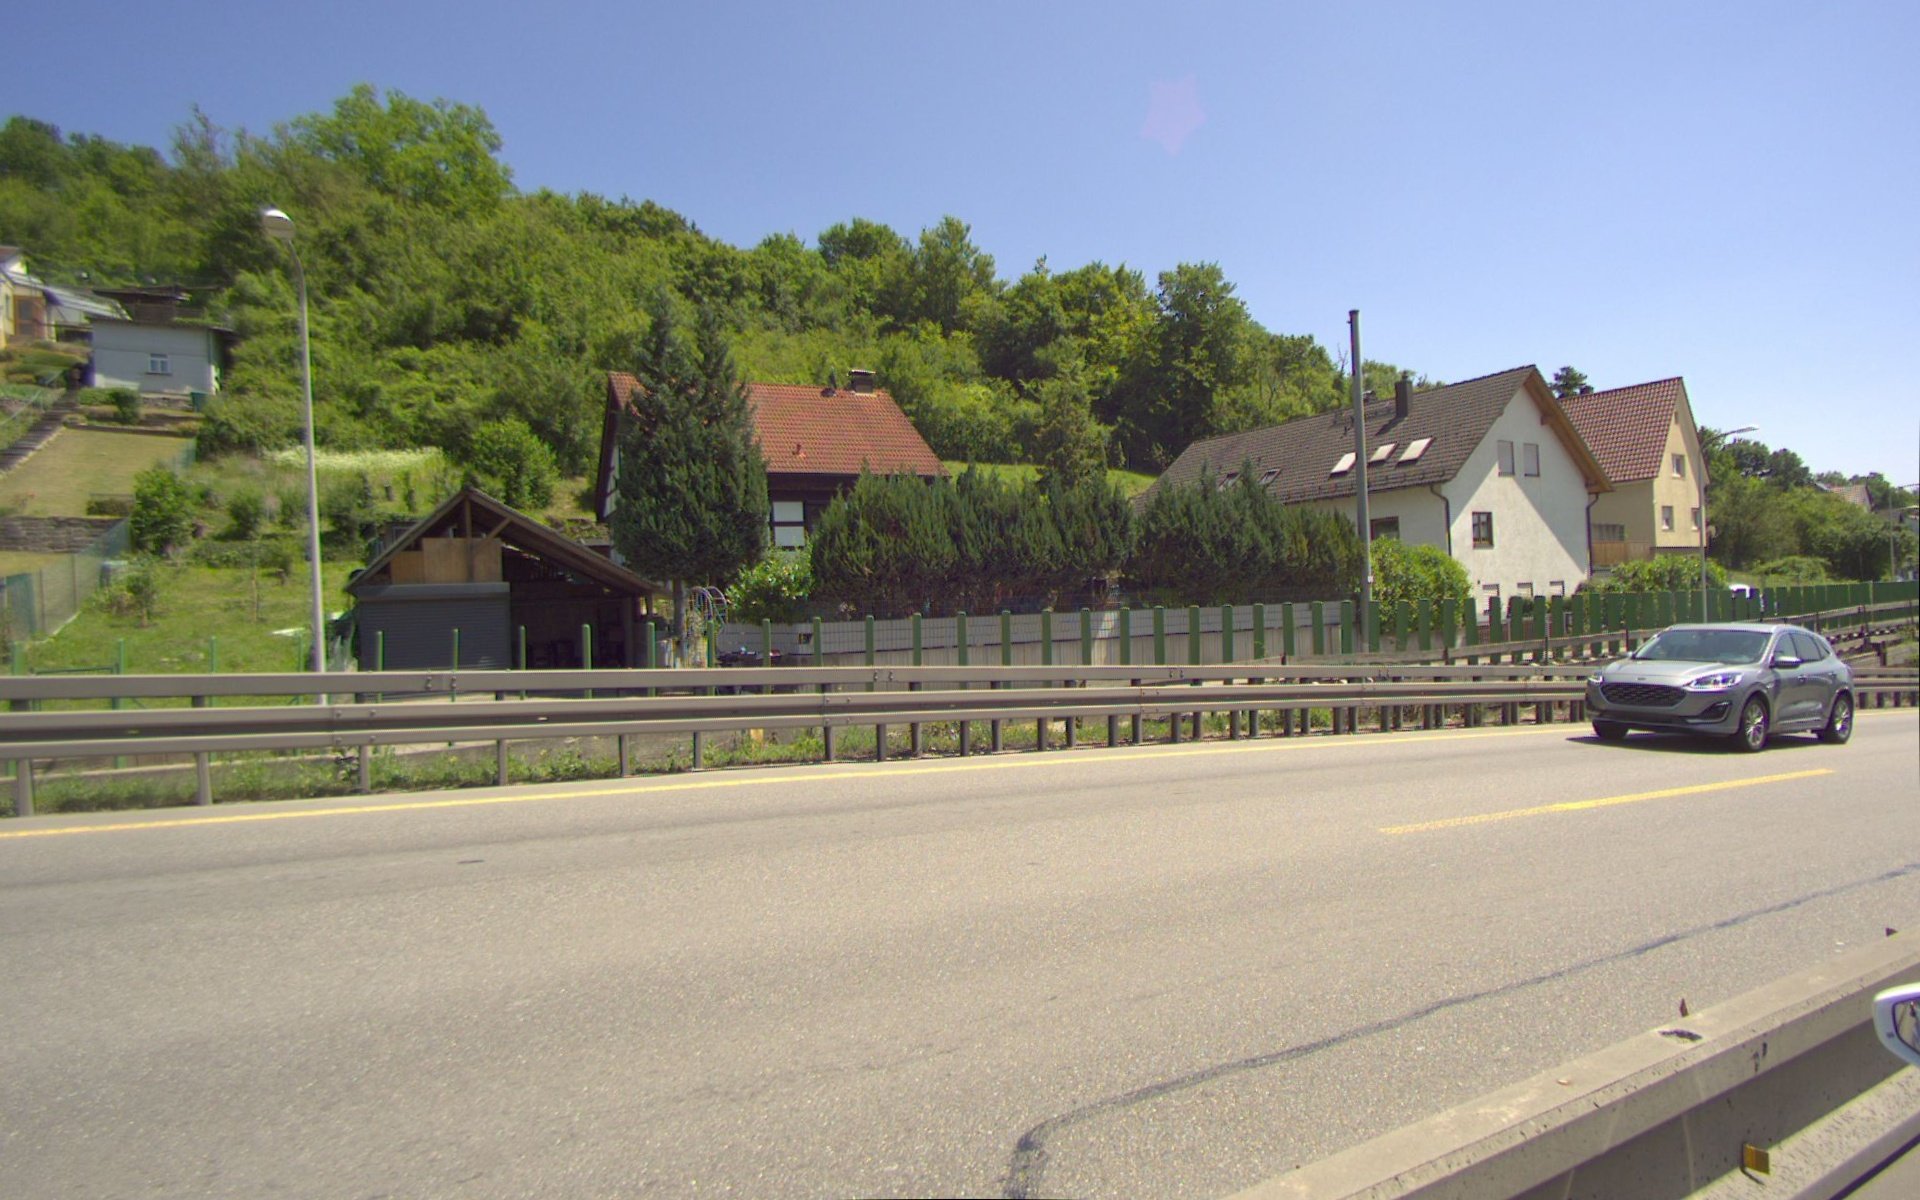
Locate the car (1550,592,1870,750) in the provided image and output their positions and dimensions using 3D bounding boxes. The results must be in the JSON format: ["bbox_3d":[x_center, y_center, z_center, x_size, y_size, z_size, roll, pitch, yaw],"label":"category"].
[{"bbox_3d":[10.342,0.928,13.792,4.457,1.851,1.984,2,-3,-31],"label":"car"}]
